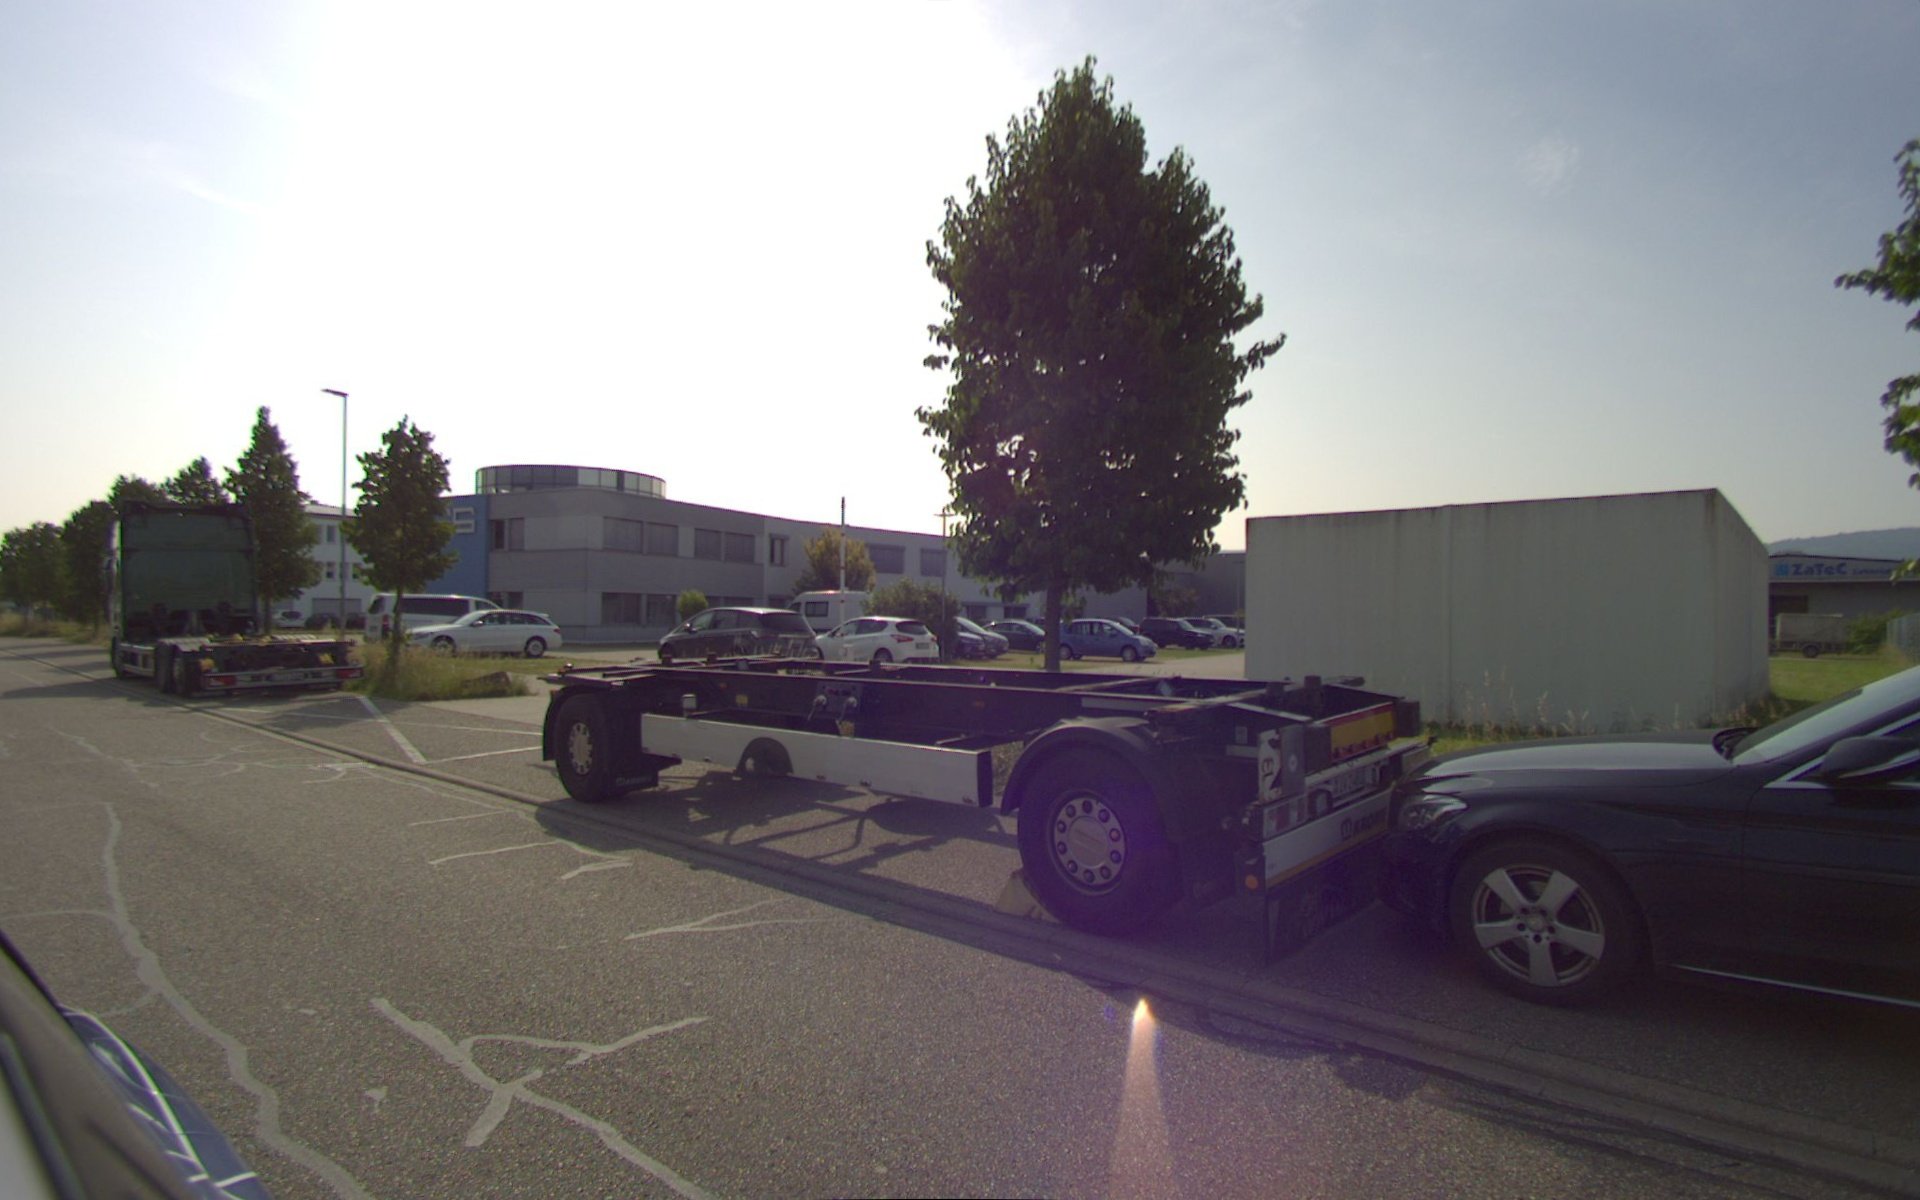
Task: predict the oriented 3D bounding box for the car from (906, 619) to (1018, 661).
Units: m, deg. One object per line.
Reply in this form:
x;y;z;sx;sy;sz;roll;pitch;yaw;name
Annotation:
0.043;1.513;39.193;4.210;1.527;1.688;-1;-3;40;car

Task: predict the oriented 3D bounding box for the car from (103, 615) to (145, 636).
-58.785;1.796;71.123;3.918;1.420;1.735;-1;-2;43;car

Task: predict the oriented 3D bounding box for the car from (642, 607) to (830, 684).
-5.465;1.046;24.392;4.695;1.699;1.973;-1;-2;40;car

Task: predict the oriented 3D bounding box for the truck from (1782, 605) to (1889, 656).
45.243;1.548;52.325;1.970;2.533;4.004;2;-2;-43;truck

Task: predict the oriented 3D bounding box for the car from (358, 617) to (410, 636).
-41.406;1.895;72.695;4.377;1.383;1.715;-1;-2;38;car

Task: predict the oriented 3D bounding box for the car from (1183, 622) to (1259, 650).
15.970;2.180;62.069;1.820;1.625;4.154;2;-1;-45;car

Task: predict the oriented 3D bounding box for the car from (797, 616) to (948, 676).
-2.477;1.247;28.137;4.210;1.527;1.688;-1;-3;40;car

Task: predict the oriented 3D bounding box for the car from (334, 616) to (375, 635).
-48.795;2.059;81.541;3.918;1.479;1.735;-1;-2;43;car

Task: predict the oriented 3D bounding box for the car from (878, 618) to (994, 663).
-0.922;1.453;37.094;4.210;1.527;1.688;-1;-3;40;car

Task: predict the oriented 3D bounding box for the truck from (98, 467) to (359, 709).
-15.178;-0.216;20.560;9.803;3.911;2.429;0;0;43;truck

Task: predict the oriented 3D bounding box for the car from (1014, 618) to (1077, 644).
5.760;2.085;68.708;3.997;1.702;1.779;-1;-2;40;car

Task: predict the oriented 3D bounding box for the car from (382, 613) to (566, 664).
-14.778;1.144;30.998;1.999;1.442;4.676;-1;-2;41;car

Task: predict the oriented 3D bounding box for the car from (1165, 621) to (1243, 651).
14.443;2.106;60.014;1.820;1.625;4.154;2;-1;-45;car

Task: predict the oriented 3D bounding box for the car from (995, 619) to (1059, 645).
4.421;2.097;67.026;3.997;1.702;1.779;-1;-2;40;car

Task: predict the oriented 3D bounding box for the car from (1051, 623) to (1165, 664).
5.692;1.647;38.873;3.977;1.453;1.885;0;-1;25;car

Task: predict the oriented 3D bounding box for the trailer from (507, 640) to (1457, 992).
-0.610;0.983;7.211;7.156;1.242;2.107;-1;0;42;trailer

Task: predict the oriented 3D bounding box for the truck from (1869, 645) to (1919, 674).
45.650;2.814;47.756;1.844;1.320;4.002;2;-2;-45;truck

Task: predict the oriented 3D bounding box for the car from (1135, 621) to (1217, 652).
12.037;2.013;56.443;1.820;1.625;4.154;2;-1;-45;car

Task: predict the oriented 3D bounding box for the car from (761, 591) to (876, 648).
-7.123;0.935;50.927;5.718;2.714;1.696;0;-1;25;car

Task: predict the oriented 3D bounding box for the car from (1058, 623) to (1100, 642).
8.182;2.200;69.600;2.705;1.240;1.078;0;-2;33;car

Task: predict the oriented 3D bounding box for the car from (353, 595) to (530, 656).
-16.745;0.834;32.856;2.102;1.850;4.654;-1;-2;41;car

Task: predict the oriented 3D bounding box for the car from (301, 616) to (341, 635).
-50.532;2.000;80.005;3.918;1.479;1.735;-1;-2;43;car

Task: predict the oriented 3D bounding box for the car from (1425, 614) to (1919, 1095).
4.221;0.798;3.420;4.431;1.478;1.972;-1;-1;42;car

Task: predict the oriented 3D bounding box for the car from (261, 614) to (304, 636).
-52.320;1.939;78.153;3.918;1.631;1.885;-1;-2;43;car

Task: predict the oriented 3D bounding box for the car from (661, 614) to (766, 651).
-10.878;1.425;44.586;4.500;1.492;1.565;1;-1;26;car
